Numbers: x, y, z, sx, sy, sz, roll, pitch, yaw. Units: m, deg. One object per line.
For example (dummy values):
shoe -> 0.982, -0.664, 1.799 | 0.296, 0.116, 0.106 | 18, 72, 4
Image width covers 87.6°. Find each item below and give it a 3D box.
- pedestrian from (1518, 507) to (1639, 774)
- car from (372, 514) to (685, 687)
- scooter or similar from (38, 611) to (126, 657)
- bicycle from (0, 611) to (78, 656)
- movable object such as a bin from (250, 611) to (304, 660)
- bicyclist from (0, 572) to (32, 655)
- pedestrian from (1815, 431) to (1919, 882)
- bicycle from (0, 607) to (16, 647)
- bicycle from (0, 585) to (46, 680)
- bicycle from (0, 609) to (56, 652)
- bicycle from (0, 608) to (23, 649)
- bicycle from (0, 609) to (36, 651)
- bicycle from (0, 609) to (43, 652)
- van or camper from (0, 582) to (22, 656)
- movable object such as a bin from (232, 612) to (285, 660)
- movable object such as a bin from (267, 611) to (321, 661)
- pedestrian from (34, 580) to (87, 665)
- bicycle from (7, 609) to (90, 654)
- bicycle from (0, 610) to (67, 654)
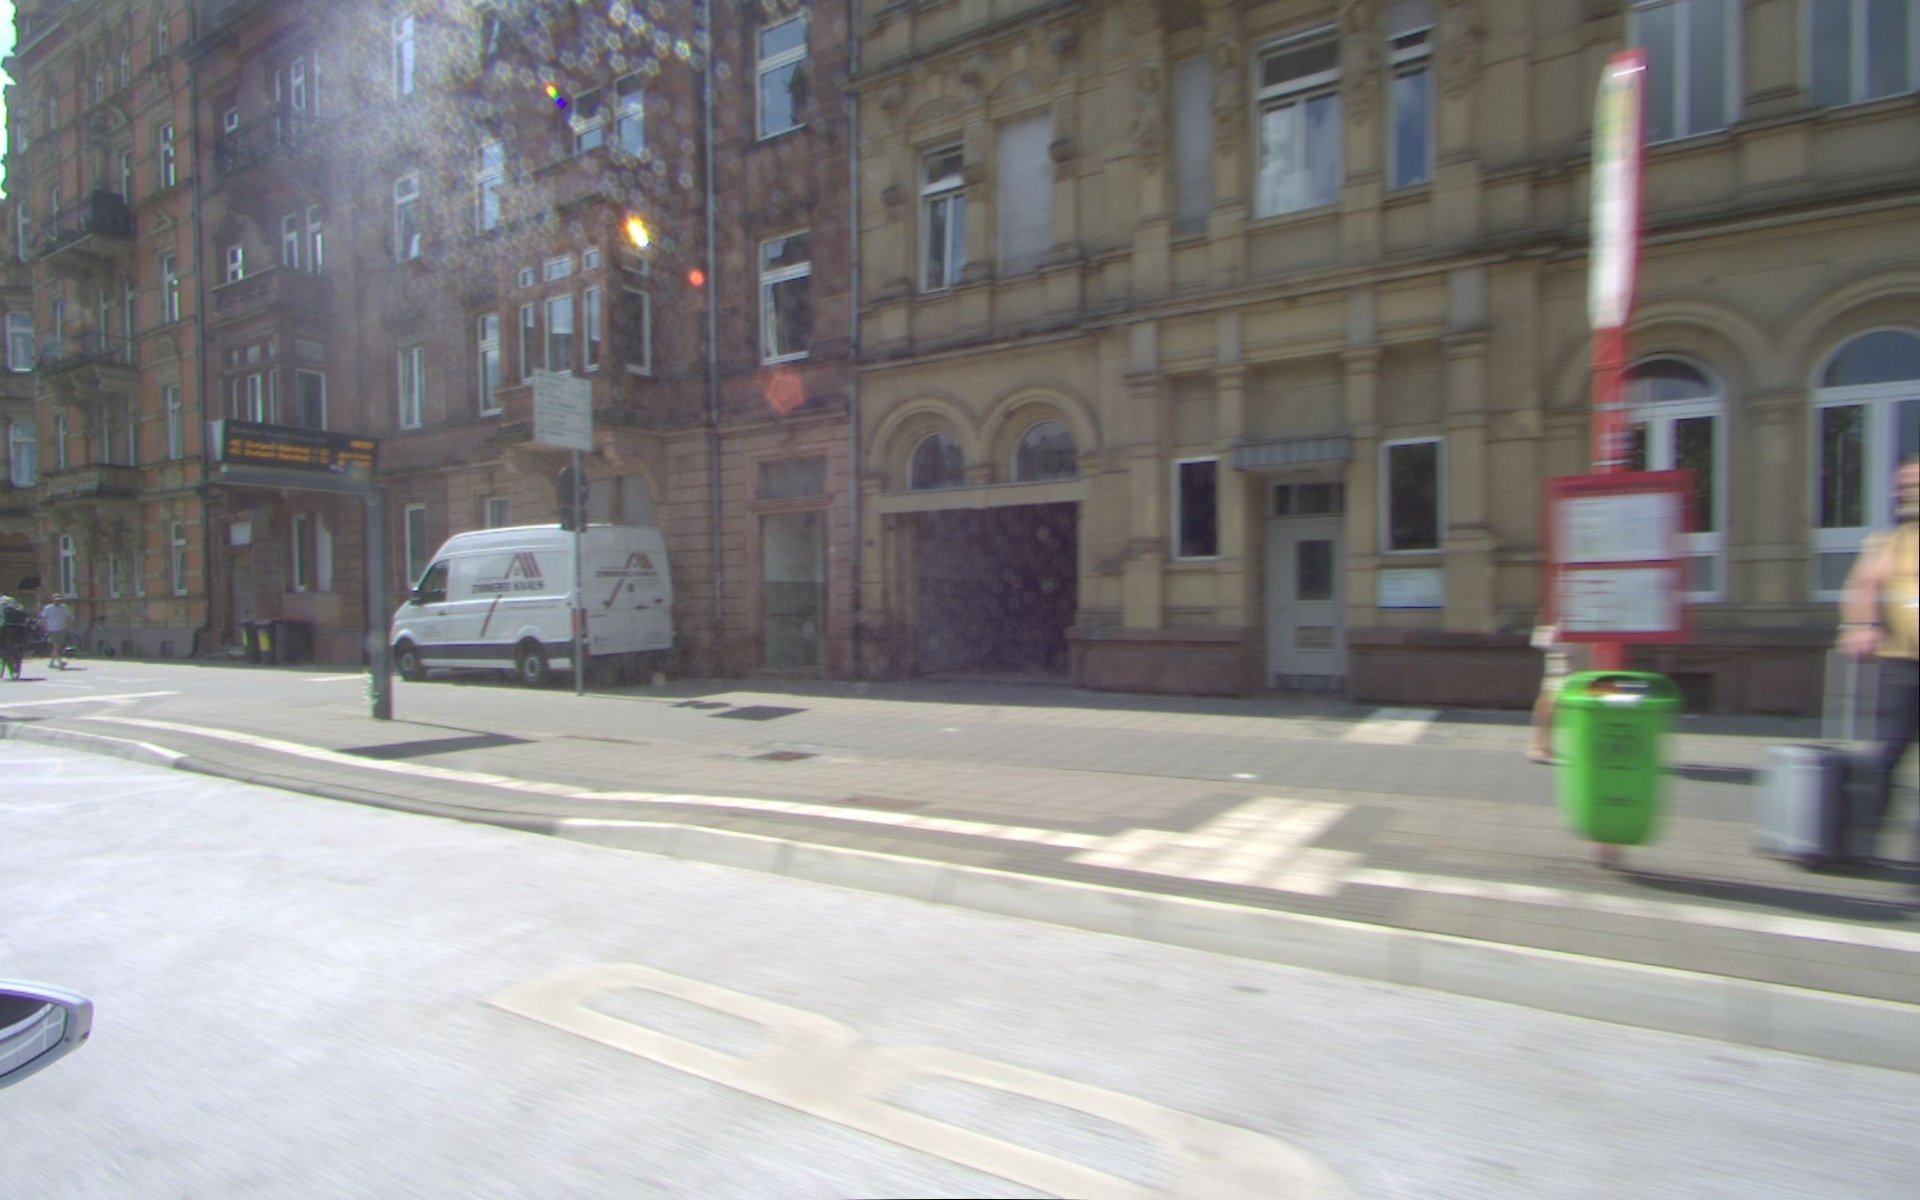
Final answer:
pedestrian -> 4.549, 0.284, 7.411 | 0.683, 1.861, 0.662 | 0, 1, 25
car -> -7.522, 0.022, 17.210 | 5.803, 2.559, 1.990 | 0, 0, 32
scooter or similar -> -24.832, 0.946, 28.365 | 0.460, 1.201, 1.765 | -1, 2, 31
bicycle -> -27.614, 0.971, 29.976 | 0.460, 1.285, 1.741 | 3, 2, 35
movable object such as a bin -> -16.238, 0.842, 23.821 | 0.765, 1.122, 0.784 | 0, 1, 30
bicyclist -> -20.225, 0.272, 21.350 | 0.816, 1.742, 0.426 | 1, 1, 33
pedestrian -> 4.468, 0.240, 4.525 | 0.681, 1.928, 0.664 | 0, 1, 13
bicycle -> -31.548, 0.879, 32.141 | 0.460, 1.285, 1.764 | 3, 2, 35
bicycle -> -20.183, 0.681, 21.285 | 1.567, 1.951, 0.682 | 0, 1, 33
bicycle -> -28.886, 0.916, 30.629 | 0.460, 1.285, 1.764 | 3, 2, 35
bicycle -> -30.996, 0.900, 31.798 | 0.460, 1.285, 1.764 | 3, 2, 35
bicycle -> -30.123, 0.947, 31.305 | 0.460, 1.285, 1.764 | 3, 2, 35
bicycle -> -29.599, 0.943, 30.982 | 0.460, 1.285, 1.764 | 3, 2, 35
van or camper -> -26.697, 0.515, 27.868 | 0.629, 2.041, 0.664 | 0, 1, 31
movable object such as a bin -> -16.996, 0.857, 24.270 | 0.765, 1.122, 0.784 | 0, 1, 30
movable object such as a bin -> -15.596, 0.834, 23.442 | 0.765, 1.122, 0.784 | 0, 1, 30
pedestrian -> -22.057, 0.539, 24.567 | 0.705, 2.041, 0.766 | 0, 1, 32
bicycle -> -27.067, 0.922, 29.767 | 0.460, 1.285, 1.764 | 3, 2, 35
bicycle -> -28.215, 0.947, 30.271 | 0.460, 1.285, 1.764 | 3, 2, 35
